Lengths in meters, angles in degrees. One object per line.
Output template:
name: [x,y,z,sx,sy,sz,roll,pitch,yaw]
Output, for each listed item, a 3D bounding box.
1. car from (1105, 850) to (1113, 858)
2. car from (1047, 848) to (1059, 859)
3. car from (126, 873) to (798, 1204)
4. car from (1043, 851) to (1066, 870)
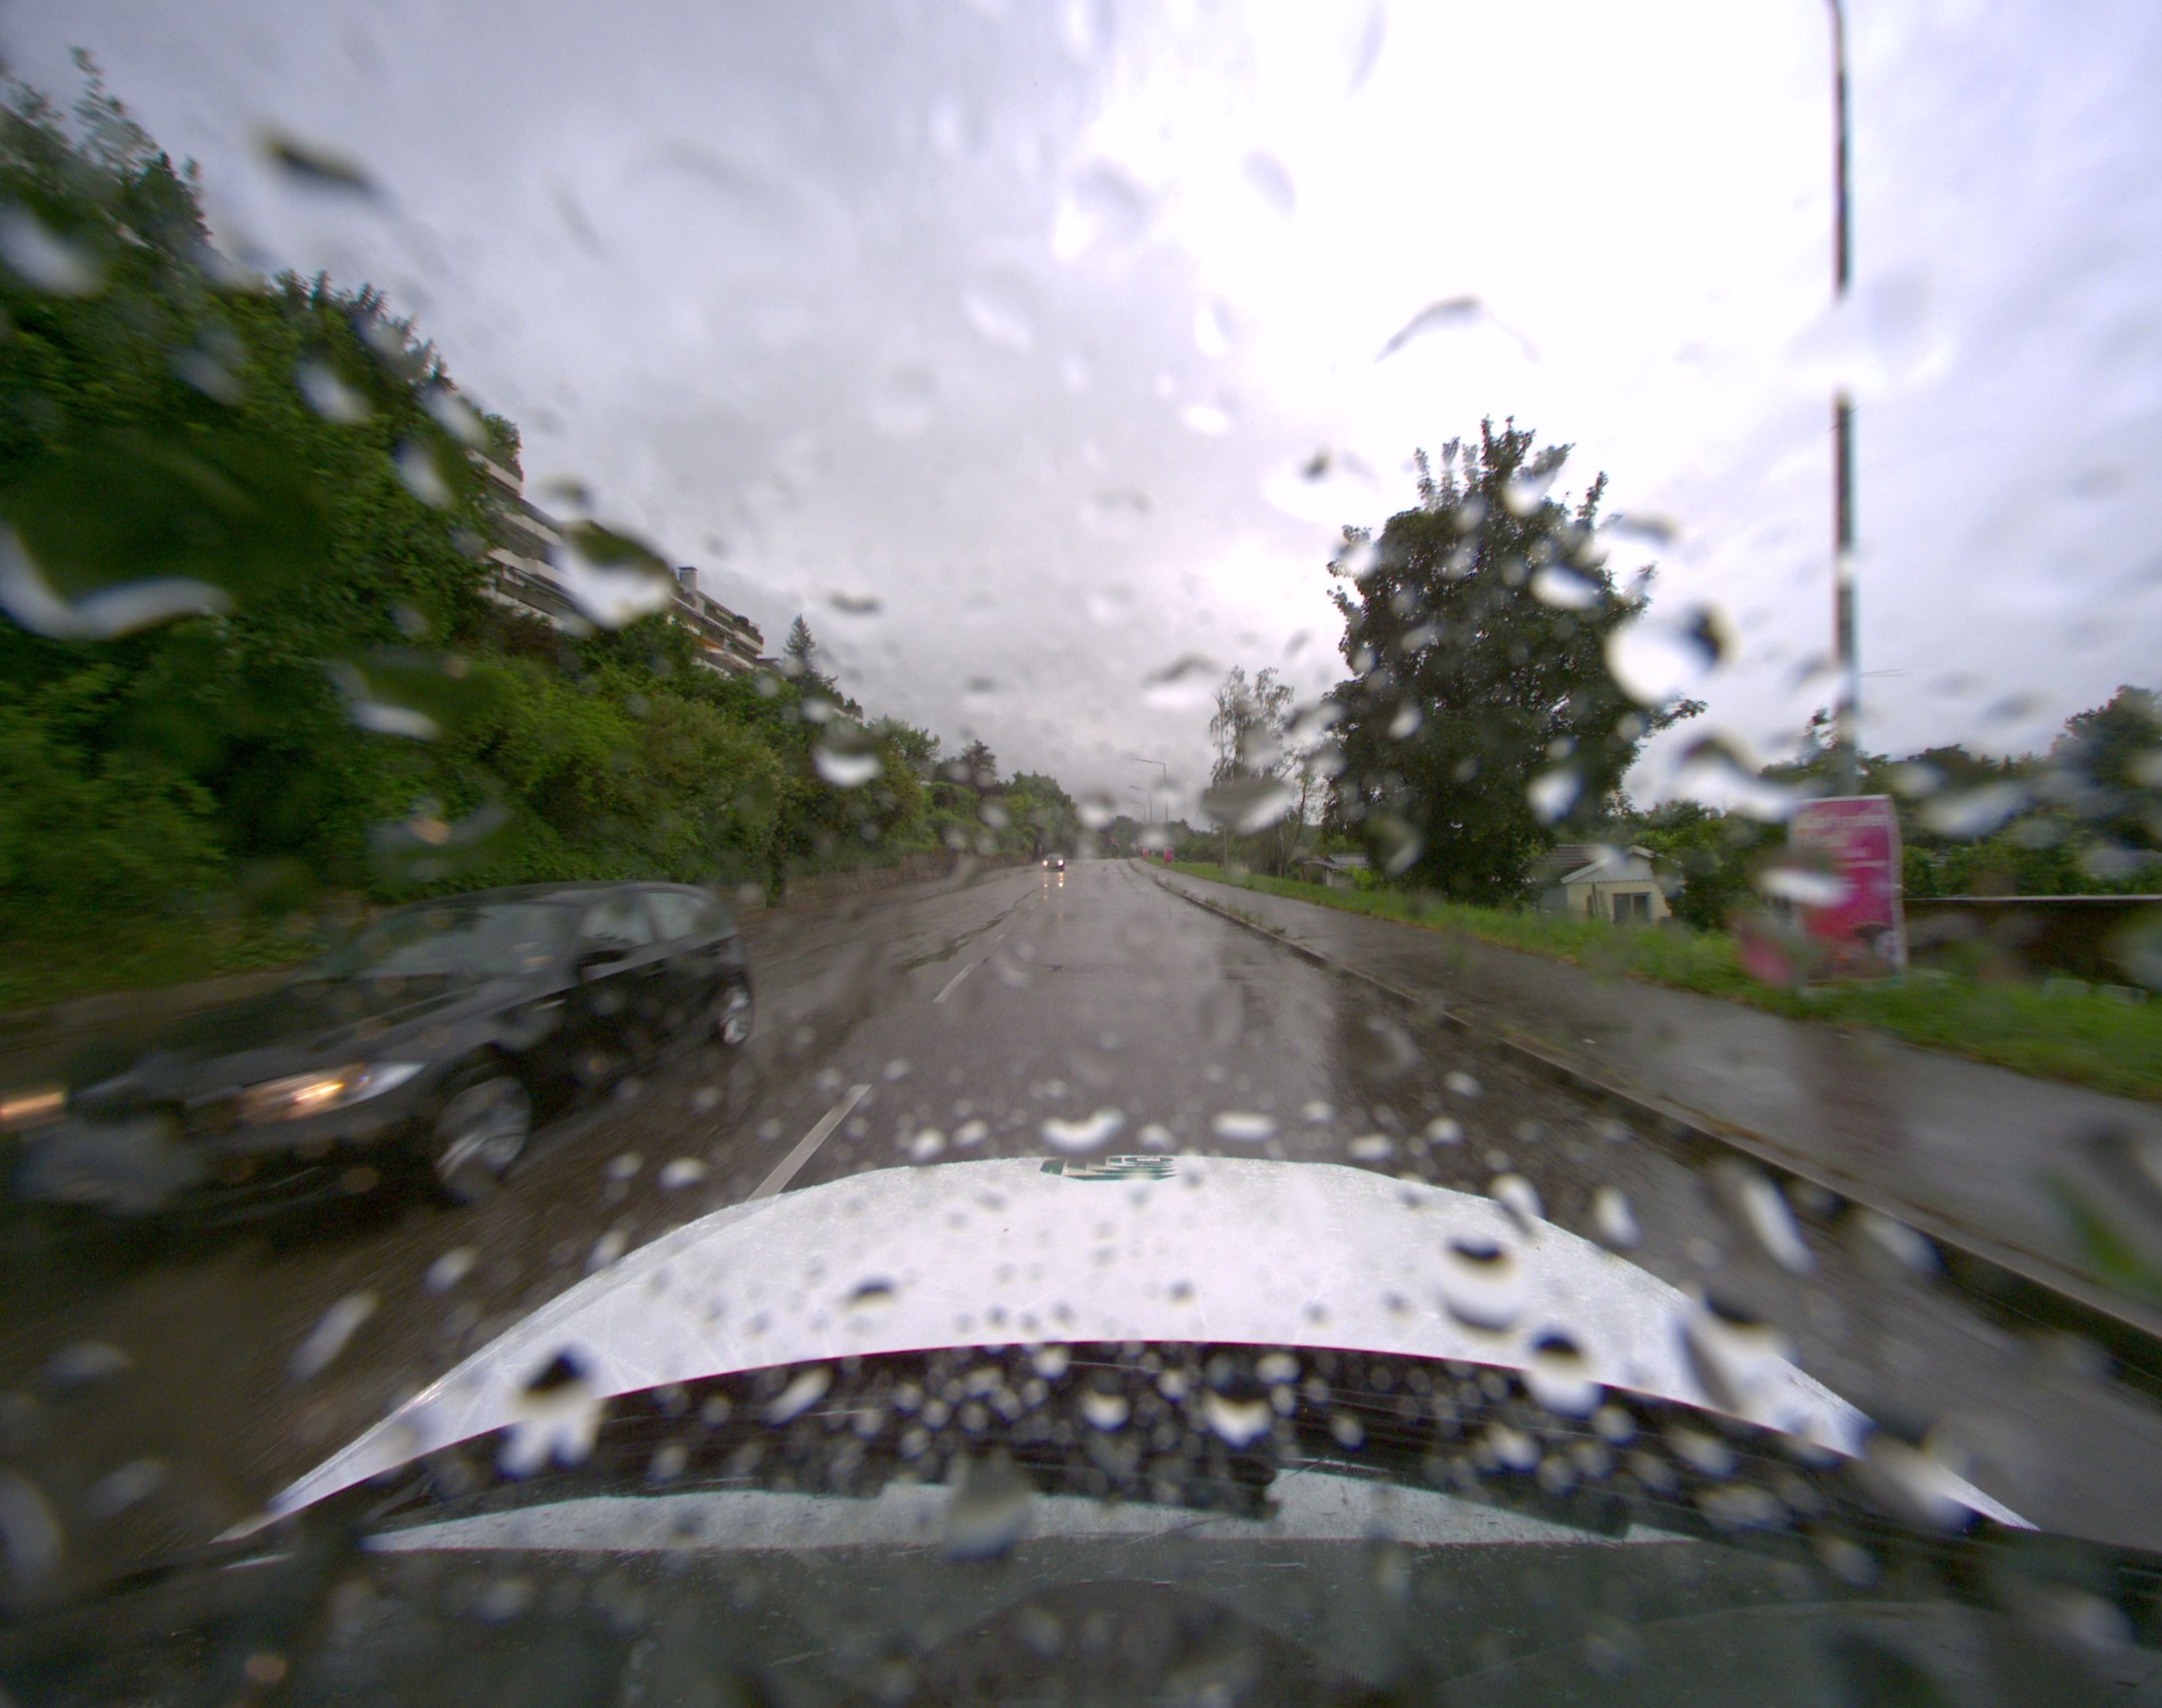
car: [7.176,0.081,211.840,1.986,2.014,4.001,-1,0,1]
car: [-4.139,-0.083,121.575,1.722,1.496,3.985,-2,0,-1]
car: [-3.483,0.873,5.678,1.650,1.352,3.985,-2,0,-1]
car: [-2.247,0.531,70.162,1.754,1.496,4.126,-2,0,0]
